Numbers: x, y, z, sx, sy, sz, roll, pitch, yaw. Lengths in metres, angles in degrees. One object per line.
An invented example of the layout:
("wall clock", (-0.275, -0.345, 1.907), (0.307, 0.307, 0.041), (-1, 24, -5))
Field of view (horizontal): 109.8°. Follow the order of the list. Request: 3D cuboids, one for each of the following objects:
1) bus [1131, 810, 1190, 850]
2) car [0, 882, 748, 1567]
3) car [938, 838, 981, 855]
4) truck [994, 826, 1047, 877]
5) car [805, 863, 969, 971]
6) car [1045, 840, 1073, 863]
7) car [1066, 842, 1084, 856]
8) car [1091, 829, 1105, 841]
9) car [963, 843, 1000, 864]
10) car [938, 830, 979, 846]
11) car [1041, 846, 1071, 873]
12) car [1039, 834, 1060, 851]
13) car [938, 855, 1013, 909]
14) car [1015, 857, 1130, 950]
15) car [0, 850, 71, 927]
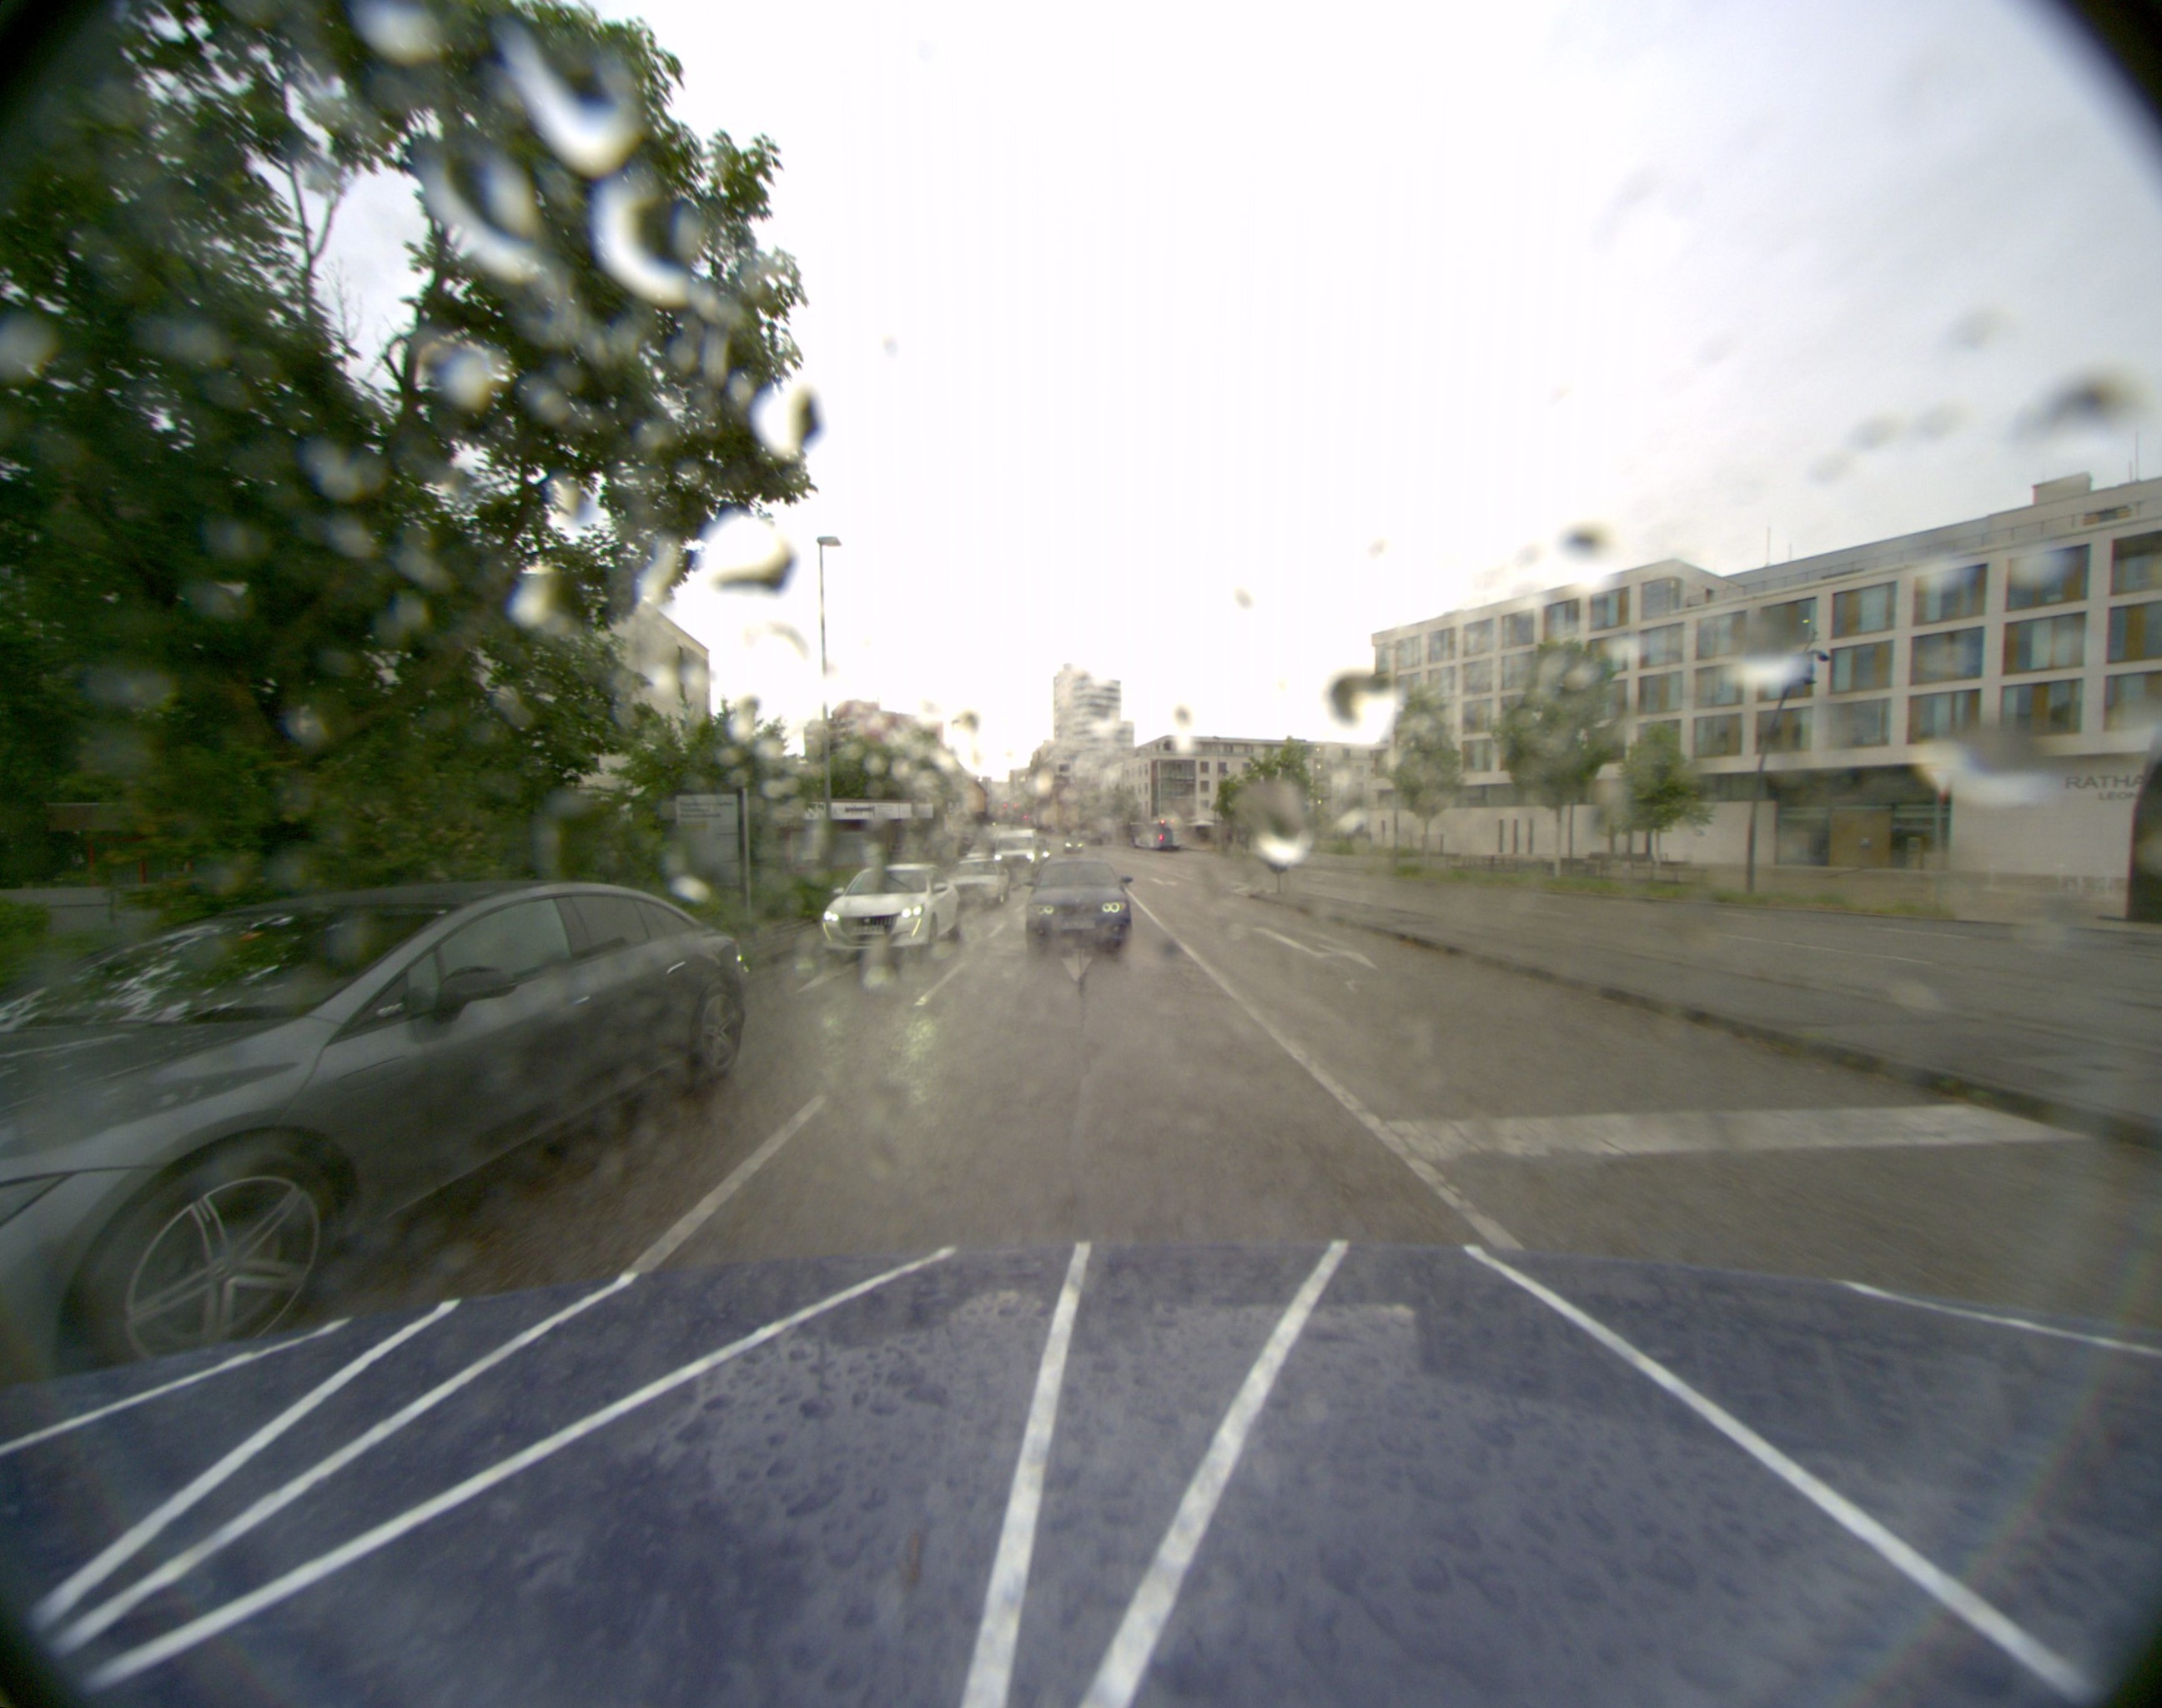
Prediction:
("bus", (8.415, -2.533, 84.065), (2.952, 3.972, 18.215), (0, 1, -5))
("car", (-3.535, 1.018, 3.541), (1.836, 1.436, 4.550), (-3, 1, 1))
("car", (-11.789, -0.768, 73.968), (4.000, 1.412, 1.998), (-3, 2, -9))
("truck", (-3.106, -0.178, 40.185), (2.169, 2.425, 6.198), (-2, 1, 1))
("car", (-3.175, 0.965, 13.295), (1.718, 1.389, 4.035), (-3, 1, 1))
("car", (-1.646, -0.171, 56.138), (1.999, 1.543, 3.999), (-2, 0, -2))
("car", (-0.589, -0.544, 78.186), (1.718, 1.369, 3.734), (-3, 1, 1))
("car", (2.294, -2.524, 100.891), (1.818, 1.421, 3.941), (-3, 3, 2))
("car", (-6.738, -0.081, 51.932), (1.998, 1.344, 3.803), (1, 1, 1))
("car", (-12.264, -1.598, 76.263), (4.000, 1.412, 1.701), (-3, 2, -9))
("car", (-1.596, 0.313, 49.099), (1.643, 1.477, 3.676), (-6, 1, 1))
("car", (-3.239, -1.174, 78.625), (1.999, 1.543, 3.999), (-2, 0, -2))
("car", (-3.199, 0.807, 23.698), (1.718, 1.369, 3.734), (-3, 1, 1))
("car", (-0.118, 0.795, 13.988), (1.787, 1.335, 3.704), (-2, 1, 1))
("car", (-32.937, 1.049, 20.958), (2.800, 2.259, 6.755), (0, 1, -19))
